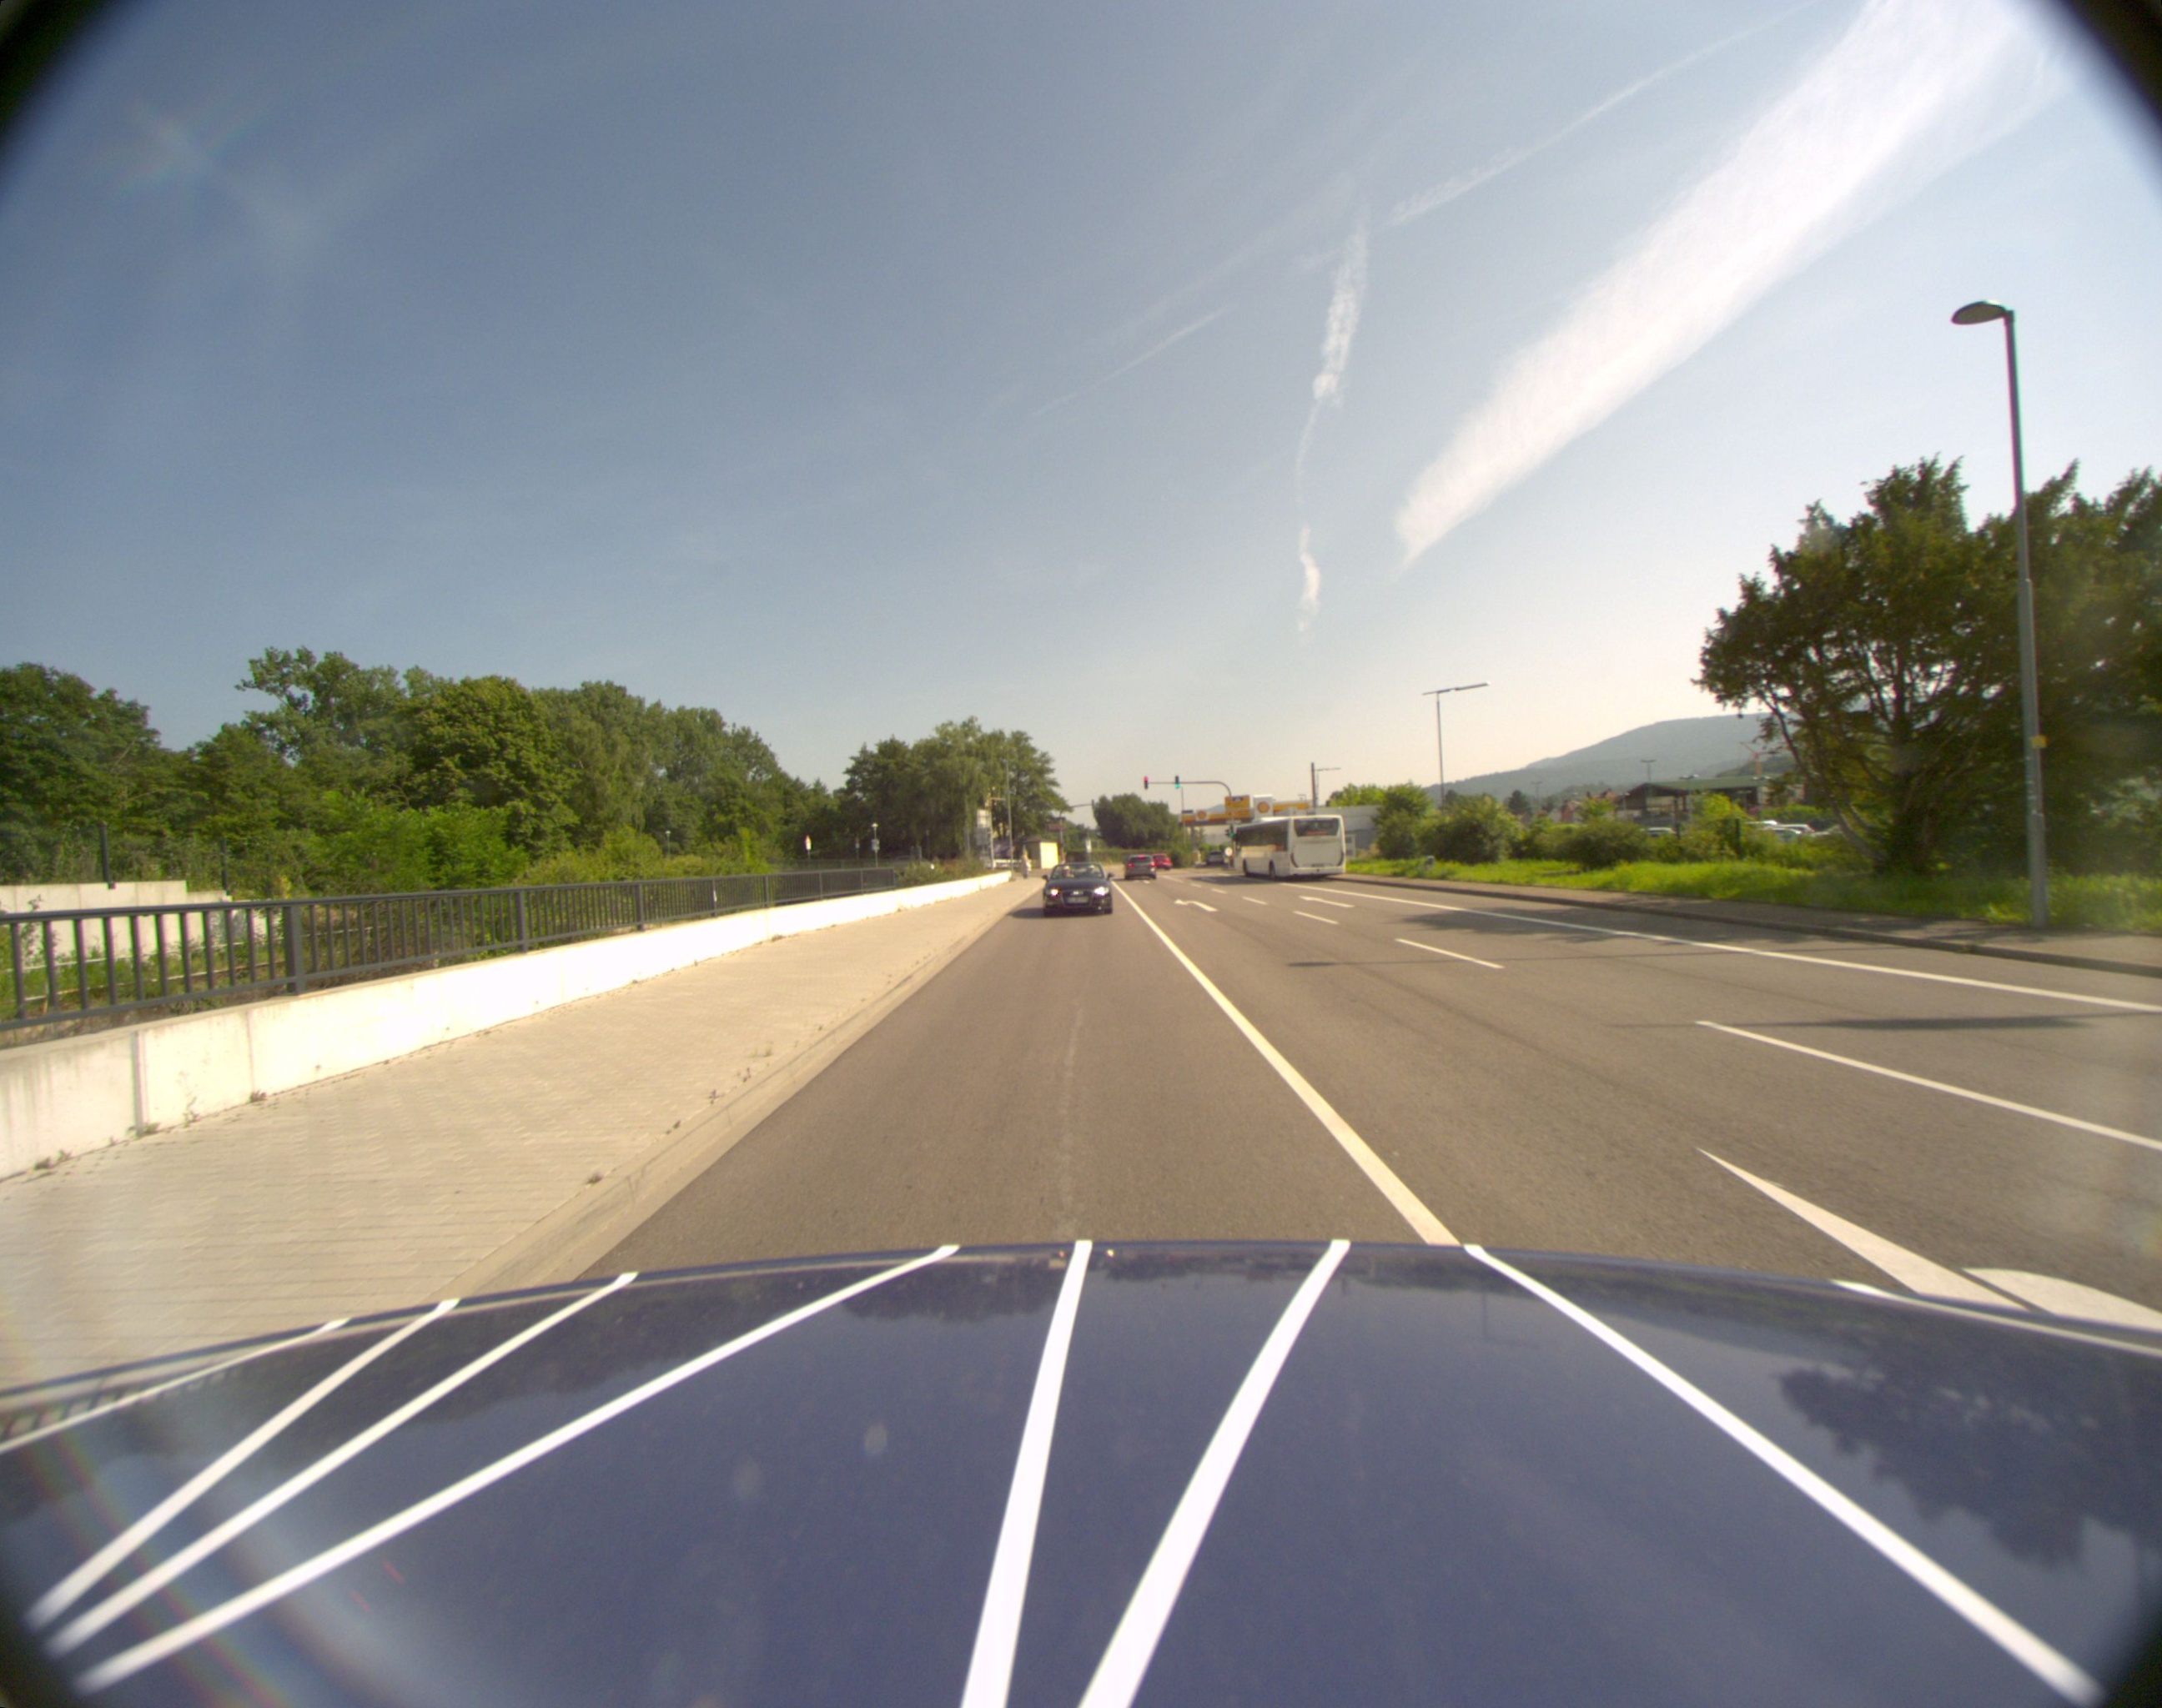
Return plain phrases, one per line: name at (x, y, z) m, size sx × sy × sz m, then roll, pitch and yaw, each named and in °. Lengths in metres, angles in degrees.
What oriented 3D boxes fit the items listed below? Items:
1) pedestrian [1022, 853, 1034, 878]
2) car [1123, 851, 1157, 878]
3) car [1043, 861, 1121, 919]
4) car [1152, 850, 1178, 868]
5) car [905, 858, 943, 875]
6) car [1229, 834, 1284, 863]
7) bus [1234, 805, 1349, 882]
pedestrian at (-3.577, 0.760, 51.322) m, size 0.713 × 1.661 × 0.592 m, roll -2°, pitch 1°, yaw -8°
car at (3.467, 0.597, 45.175) m, size 1.776 × 1.464 × 4.219 m, roll -2°, pitch 1°, yaw 1°
car at (0.105, 0.912, 20.879) m, size 1.868 × 1.323 × 4.232 m, roll -2°, pitch 0°, yaw 2°
car at (7.434, 0.424, 67.479) m, size 1.842 × 1.483 × 4.431 m, roll -2°, pitch 0°, yaw 0°
car at (-14.619, 1.129, 70.756) m, size 1.671 × 1.509 × 4.072 m, roll -1°, pitch 1°, yaw -40°
car at (13.372, -0.443, 58.071) m, size 3.784 × 1.785 × 1.703 m, roll -6°, pitch 0°, yaw 6°
bus at (10.541, -0.509, 39.630) m, size 2.627 × 3.291 × 11.955 m, roll -2°, pitch 0°, yaw 0°
